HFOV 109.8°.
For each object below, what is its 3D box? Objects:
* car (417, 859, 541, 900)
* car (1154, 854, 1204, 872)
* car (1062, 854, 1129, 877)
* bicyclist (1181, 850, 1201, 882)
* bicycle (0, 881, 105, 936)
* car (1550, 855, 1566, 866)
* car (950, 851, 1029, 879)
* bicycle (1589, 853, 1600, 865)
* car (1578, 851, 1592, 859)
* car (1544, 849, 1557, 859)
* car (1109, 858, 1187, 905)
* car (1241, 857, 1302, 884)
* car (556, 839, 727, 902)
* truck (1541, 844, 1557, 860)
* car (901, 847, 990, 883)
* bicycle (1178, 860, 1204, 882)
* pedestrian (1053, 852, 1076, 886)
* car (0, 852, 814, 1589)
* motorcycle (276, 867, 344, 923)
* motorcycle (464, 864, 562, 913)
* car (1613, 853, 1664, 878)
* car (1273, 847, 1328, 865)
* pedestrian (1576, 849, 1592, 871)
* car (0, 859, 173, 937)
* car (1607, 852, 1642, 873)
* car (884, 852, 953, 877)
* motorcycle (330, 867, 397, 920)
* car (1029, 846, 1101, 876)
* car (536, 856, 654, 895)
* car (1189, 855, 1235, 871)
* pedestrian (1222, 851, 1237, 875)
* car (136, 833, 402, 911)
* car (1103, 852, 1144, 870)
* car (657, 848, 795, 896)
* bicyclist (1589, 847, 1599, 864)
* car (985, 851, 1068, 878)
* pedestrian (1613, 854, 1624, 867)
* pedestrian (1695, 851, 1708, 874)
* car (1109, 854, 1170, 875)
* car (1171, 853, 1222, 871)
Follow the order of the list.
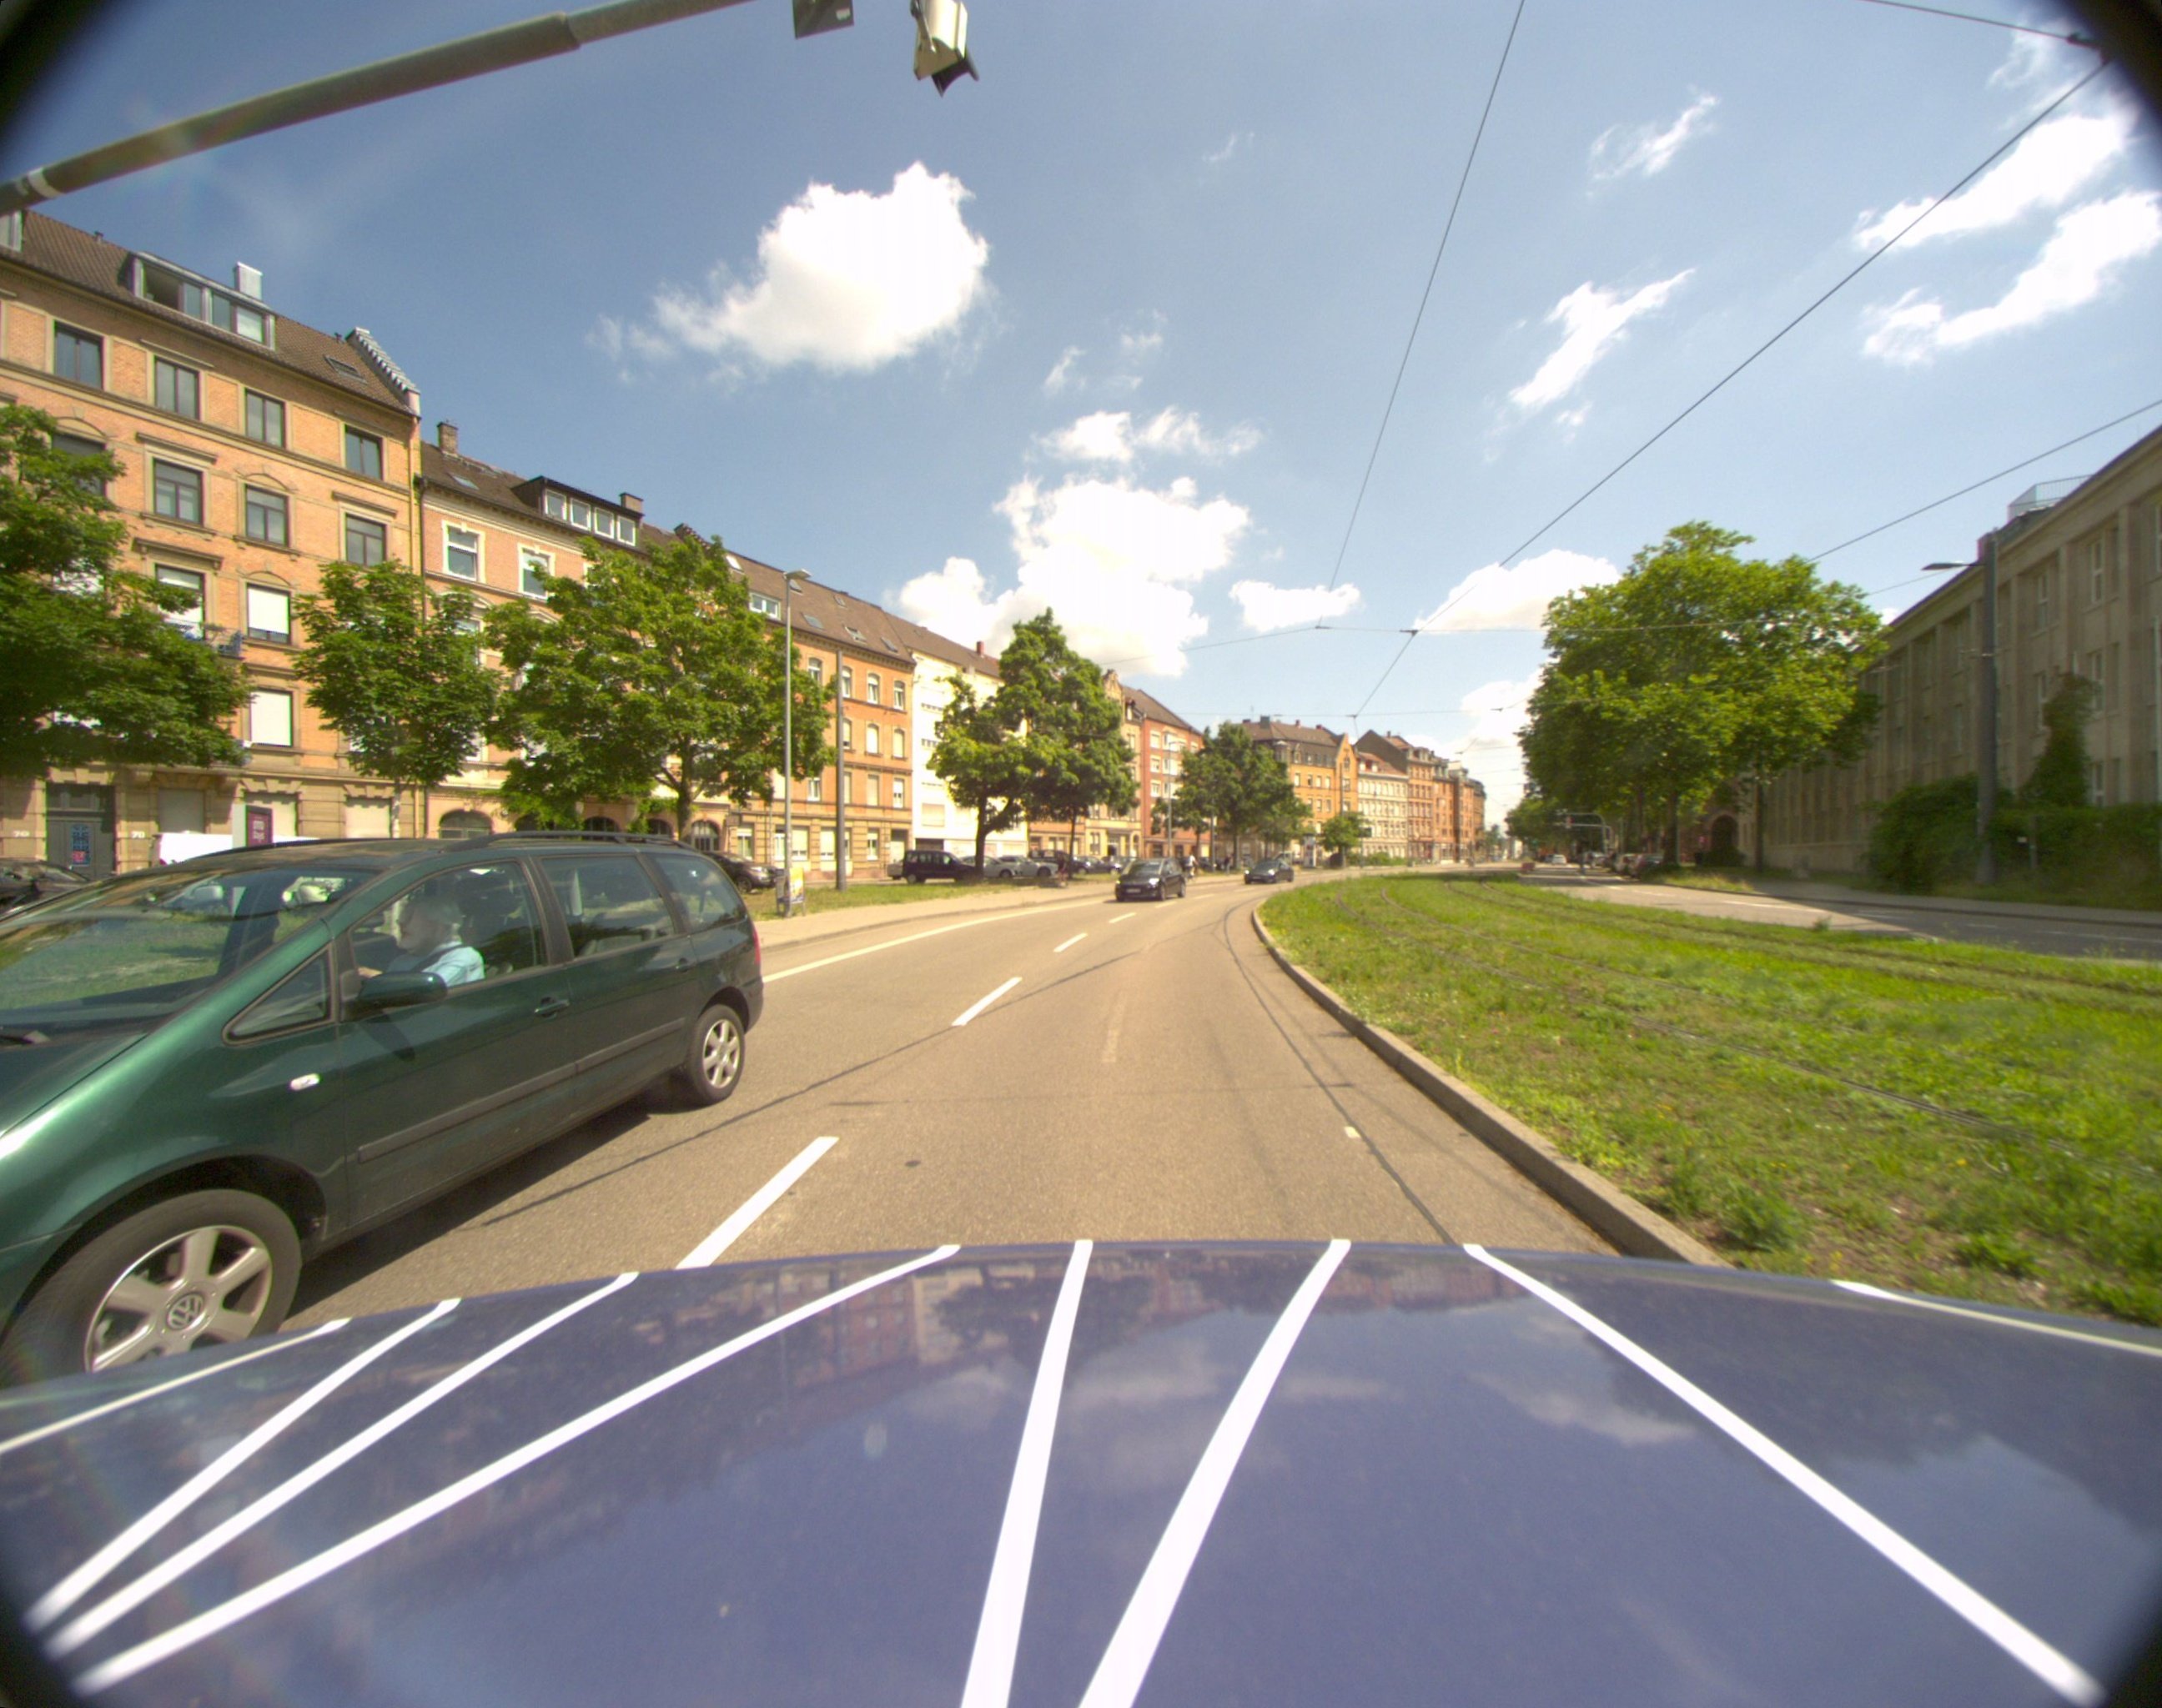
[{"bbox_3d":[-22.714,0.917,28.763,1.564,1.395,3.357,0,0,35],"label":"car"},{"bbox_3d":[8.061,0.738,62.576,3.995,1.372,1.962,-2,0,5],"label":"car"},{"bbox_3d":[0.933,0.738,50.854,4.267,1.372,1.852,-2,0,-4],"label":"car"},{"bbox_3d":[6.559,0.724,45.135,0.694,1.814,0.958,6,3,34],"label":"bicyclist"},{"bbox_3d":[-18.474,0.949,13.176,0.542,0.896,1.824,-2,0,29],"label":"bicycle"},{"bbox_3d":[67.008,0.933,106.735,1.760,1.471,3.796,2,1,32],"label":"car"},{"bbox_3d":[-4.963,0.590,41.620,4.083,1.397,1.852,-2,0,-3],"label":"car"},{"bbox_3d":[49.482,0.431,73.275,0.791,1.103,2.281,-2,0,33],"label":"bicycle"},{"bbox_3d":[97.363,0.205,146.877,1.758,1.488,4.007,-2,0,26],"label":"car"},{"bbox_3d":[83.954,-0.036,135.823,1.921,1.736,4.546,3,2,32],"label":"car"},{"bbox_3d":[2.674,1.001,29.314,1.872,1.610,4.195,-1,0,21],"label":"car"},{"bbox_3d":[11.168,0.942,44.406,1.911,1.385,4.322,-2,0,37],"label":"car"},{"bbox_3d":[-14.693,0.549,25.573,4.626,1.916,1.917,-2,0,2],"label":"car"},{"bbox_3d":[95.207,-0.470,154.598,2.640,3.088,7.237,2,2,33],"label":"truck"},{"bbox_3d":[-6.945,0.569,39.179,4.146,1.730,1.853,-2,0,2],"label":"car"},{"bbox_3d":[6.547,1.019,45.160,0.693,1.235,1.843,6,3,34],"label":"bicycle"},{"bbox_3d":[-0.787,0.710,36.584,0.700,1.583,0.907,3,2,32],"label":"pedestrian"},{"bbox_3d":[-3.331,0.892,3.743,1.822,1.746,5.033,-2,0,5],"label":"car"},{"bbox_3d":[-17.045,0.883,16.788,1.784,1.160,0.641,0,0,31],"label":"motorcycle"},{"bbox_3d":[-14.510,0.854,19.455,0.638,1.160,1.910,0,0,45],"label":"motorcycle"},{"bbox_3d":[32.273,0.662,44.068,1.927,1.360,4.326,-2,-1,31],"label":"car"},{"bbox_3d":[29.728,0.313,102.935,6.964,2.360,2.266,-1,0,22],"label":"car"},{"bbox_3d":[38.869,0.477,58.722,0.783,1.694,0.703,-2,0,3],"label":"pedestrian"},{"bbox_3d":[-20.961,0.828,14.915,4.255,1.419,1.806,0,0,3],"label":"car"},{"bbox_3d":[40.195,0.629,56.235,1.748,1.445,3.498,-2,-1,31],"label":"car"},{"bbox_3d":[-10.317,0.653,48.611,1.833,1.483,4.235,-2,0,33],"label":"car"},{"bbox_3d":[-16.576,0.878,17.546,1.784,1.160,0.641,0,0,31],"label":"motorcycle"},{"bbox_3d":[-1.038,0.444,47.483,4.364,1.730,1.852,-2,0,-4],"label":"car"},{"bbox_3d":[-20.561,0.877,32.285,1.660,1.483,3.861,-2,0,33],"label":"car"},{"bbox_3d":[11.709,0.781,67.878,3.994,1.346,1.963,-2,0,10],"label":"car"},{"bbox_3d":[10.643,0.624,54.464,0.700,1.695,1.046,1,3,31],"label":"pedestrian"},{"bbox_3d":[-25.380,0.504,24.016,2.112,2.166,5.404,-2,0,33],"label":"car"},{"bbox_3d":[4.115,0.654,72.886,1.833,1.606,4.505,-2,0,36],"label":"car"},{"bbox_3d":[-13.101,0.654,28.170,4.169,1.646,1.917,-2,0,6],"label":"car"},{"bbox_3d":[49.438,0.146,73.166,0.762,1.694,0.785,-1,0,33],"label":"bicyclist"},{"bbox_3d":[-3.118,0.597,44.246,4.691,1.372,1.852,-2,0,-2],"label":"car"},{"bbox_3d":[55.039,0.686,77.829,0.756,1.204,0.915,-6,-3,34],"label":"pedestrian"},{"bbox_3d":[43.535,0.569,53.307,0.554,1.582,0.797,-1,0,32],"label":"pedestrian"},{"bbox_3d":[4.299,0.781,56.273,4.267,1.372,1.852,-2,0,-4],"label":"car"},{"bbox_3d":[9.836,0.700,64.981,3.997,1.372,1.961,-2,0,0],"label":"car"}]
